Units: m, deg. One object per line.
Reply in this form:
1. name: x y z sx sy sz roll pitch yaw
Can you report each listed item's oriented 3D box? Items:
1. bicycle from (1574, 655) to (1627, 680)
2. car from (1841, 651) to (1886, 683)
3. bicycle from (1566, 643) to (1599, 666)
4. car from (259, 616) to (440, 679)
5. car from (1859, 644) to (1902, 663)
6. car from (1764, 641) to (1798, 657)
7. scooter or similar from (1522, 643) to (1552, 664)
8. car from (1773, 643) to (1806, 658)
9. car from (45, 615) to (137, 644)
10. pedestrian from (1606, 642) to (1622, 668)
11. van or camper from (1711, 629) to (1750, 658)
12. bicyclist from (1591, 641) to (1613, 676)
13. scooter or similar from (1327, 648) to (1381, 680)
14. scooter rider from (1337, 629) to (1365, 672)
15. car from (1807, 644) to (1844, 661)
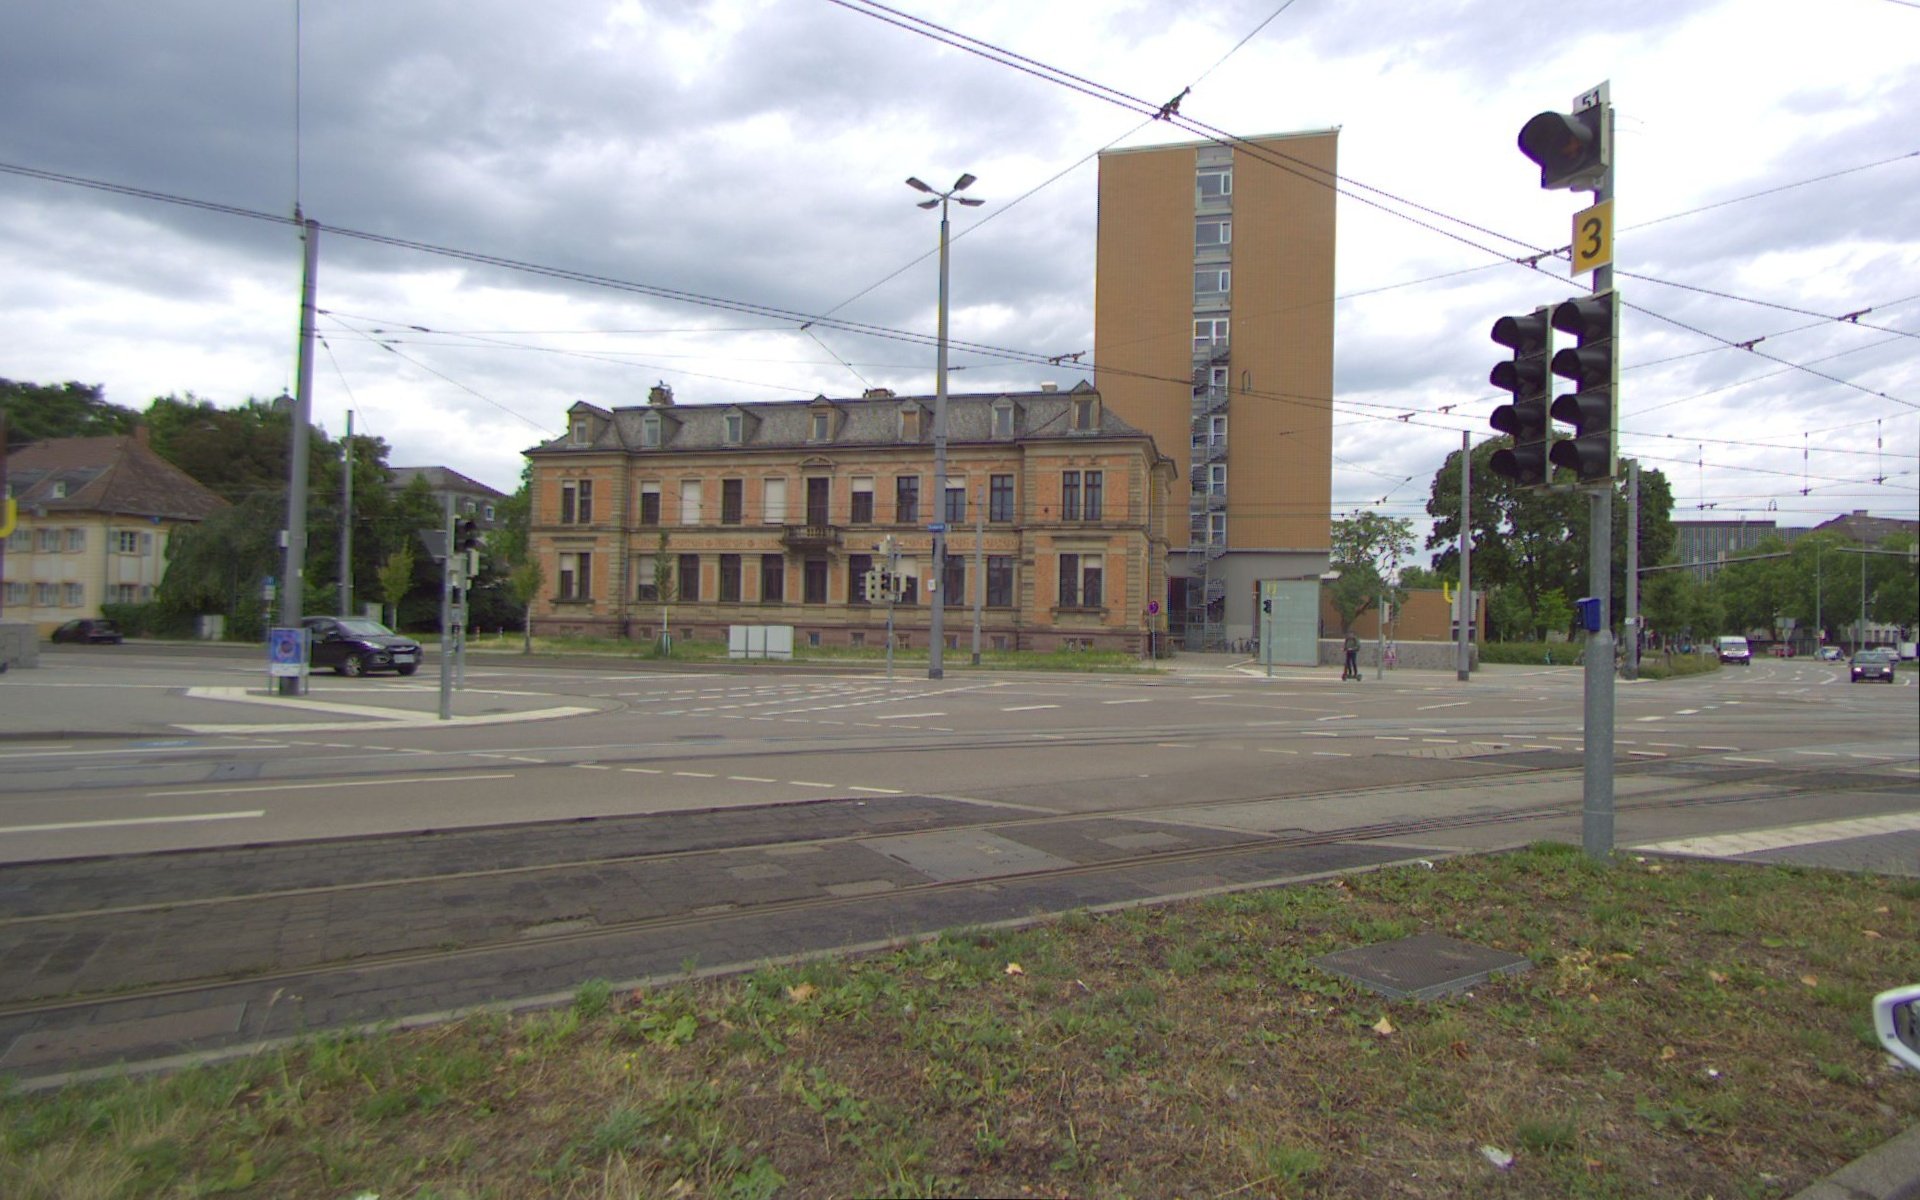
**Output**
1. bicycle: 32.010 3.382 50.231 2.090 1.042 0.790 3 2 44
2. car: 45.307 3.330 50.417 1.600 1.535 3.647 -1 -3 41
3. bicycle: 41.612 3.634 67.124 2.224 1.468 0.844 2 -1 -25
4. car: -17.379 1.326 28.668 4.159 1.632 2.001 1 -1 13
5. car: 94.011 5.450 102.641 1.962 1.773 3.998 1 -2 23
6. car: 99.314 5.938 121.536 1.961 1.795 4.000 1 -2 21
7. scooter or similar: 38.528 3.557 67.084 1.744 1.319 0.629 0 -1 29
8. car: 105.333 6.373 127.651 1.961 1.773 4.001 1 -2 20
9. car: -46.810 1.580 54.127 3.920 1.450 2.001 1 -2 18
10. pedestrian: 44.681 3.725 68.629 0.681 1.756 0.739 2 -2 -44
11. van or camper: 68.572 3.857 89.492 2.247 2.560 5.559 -1 -3 33
12. bicyclist: 32.070 2.904 50.174 0.803 1.679 0.789 0 0 42
13. scooter or similar: 15.159 2.458 38.664 1.872 1.180 0.573 1 -1 -9
14. scooter rider: 15.029 1.934 38.643 0.807 1.649 0.568 1 -1 -9
15. car: 93.310 5.651 108.334 1.962 1.661 3.999 1 -2 23
